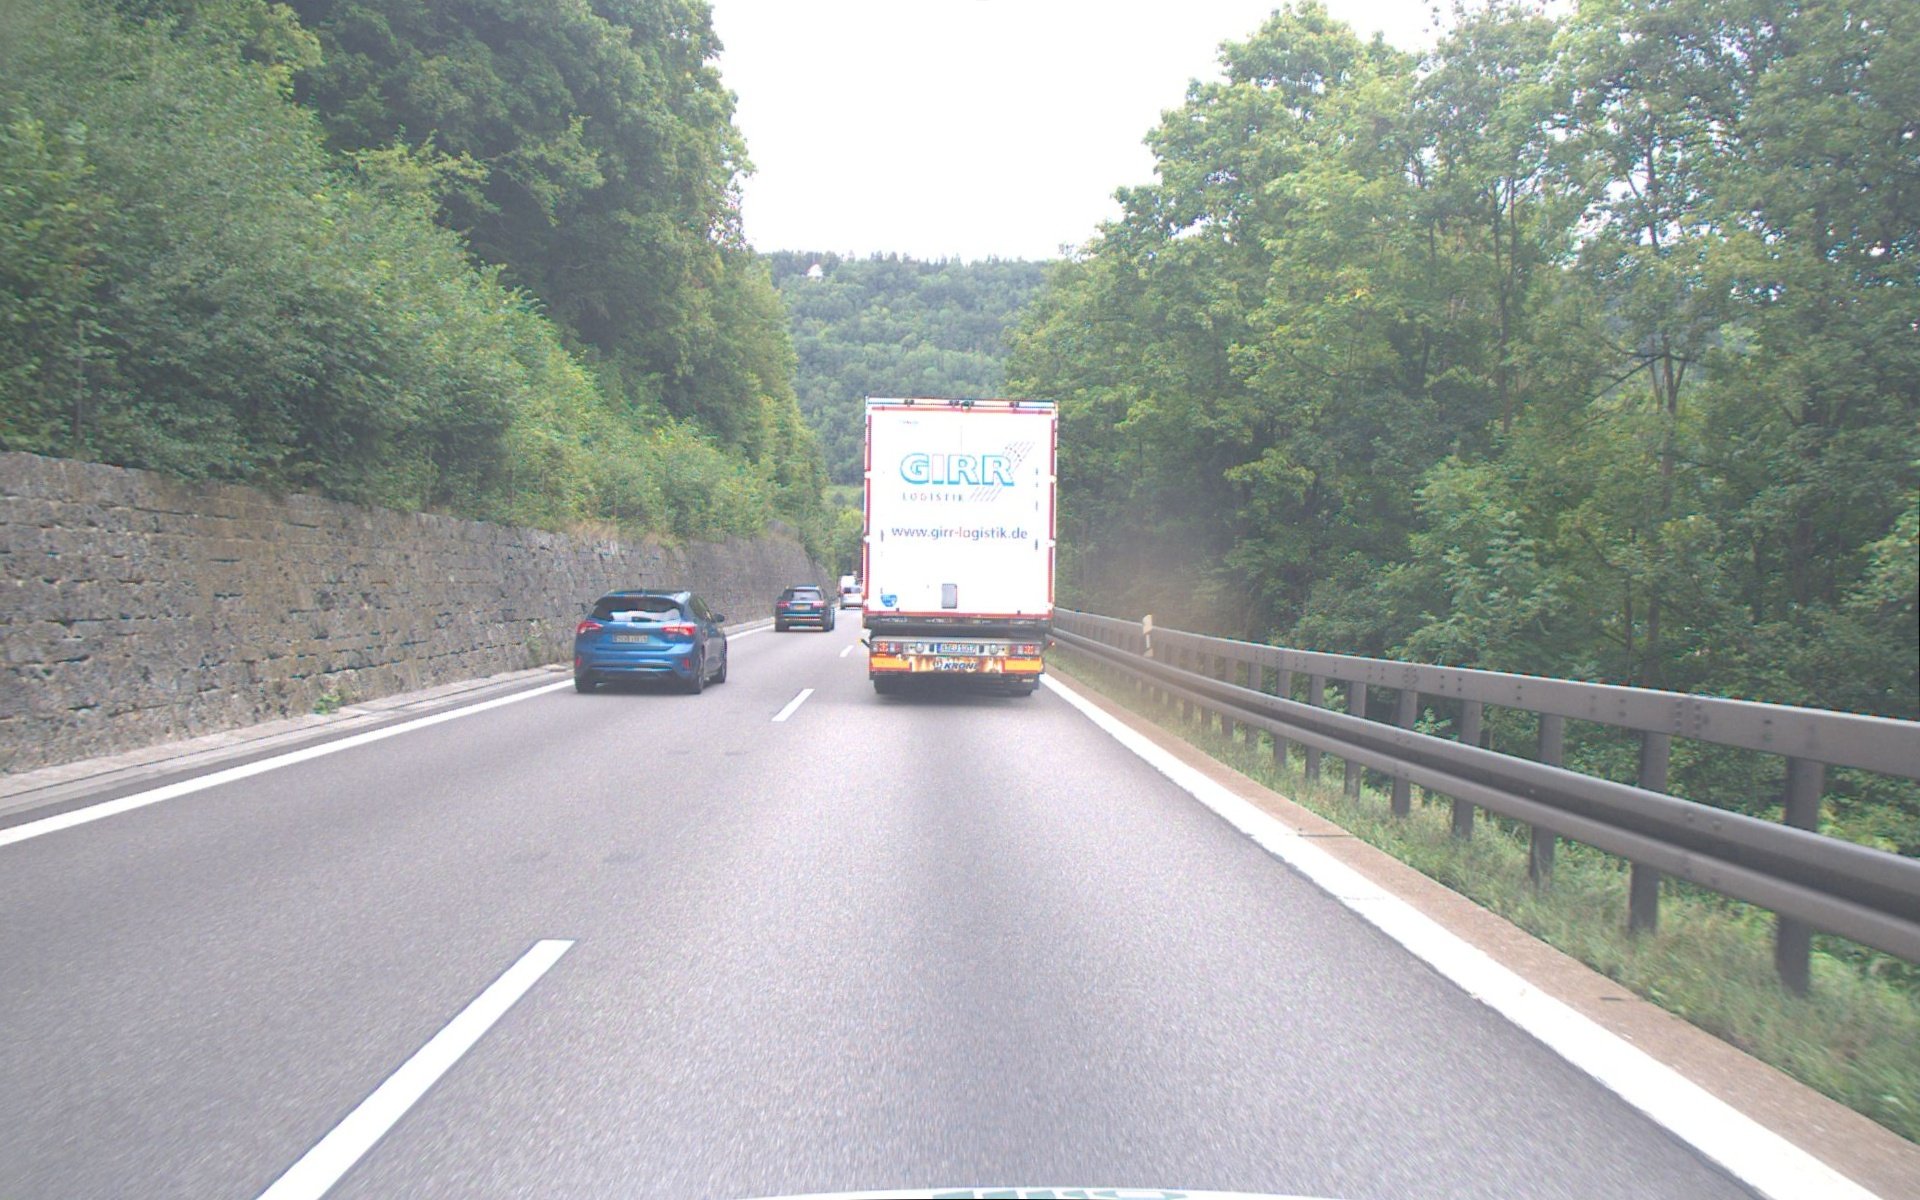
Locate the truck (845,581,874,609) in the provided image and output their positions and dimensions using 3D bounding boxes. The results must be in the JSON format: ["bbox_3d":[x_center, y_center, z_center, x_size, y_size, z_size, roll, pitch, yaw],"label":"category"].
[{"bbox_3d":[-8.930,-0.456,147.174,2.302,2.313,6.846,3,0,-2],"label":"truck"}]

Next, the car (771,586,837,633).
[{"bbox_3d":[-5.204,0.283,55.652,1.724,1.489,5.122,1,1,0],"label":"car"}]

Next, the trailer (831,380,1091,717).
[{"bbox_3d":[-0.198,-0.726,25.959,3.071,4.112,9.435,4,1,-3],"label":"trailer"}]

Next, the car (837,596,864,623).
[{"bbox_3d":[-7.410,0.618,111.927,1.601,1.757,4.343,2,0,-1],"label":"car"}]

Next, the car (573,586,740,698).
[{"bbox_3d":[-4.417,0.568,24.730,1.799,1.494,4.553,1,0,-2],"label":"car"}]
